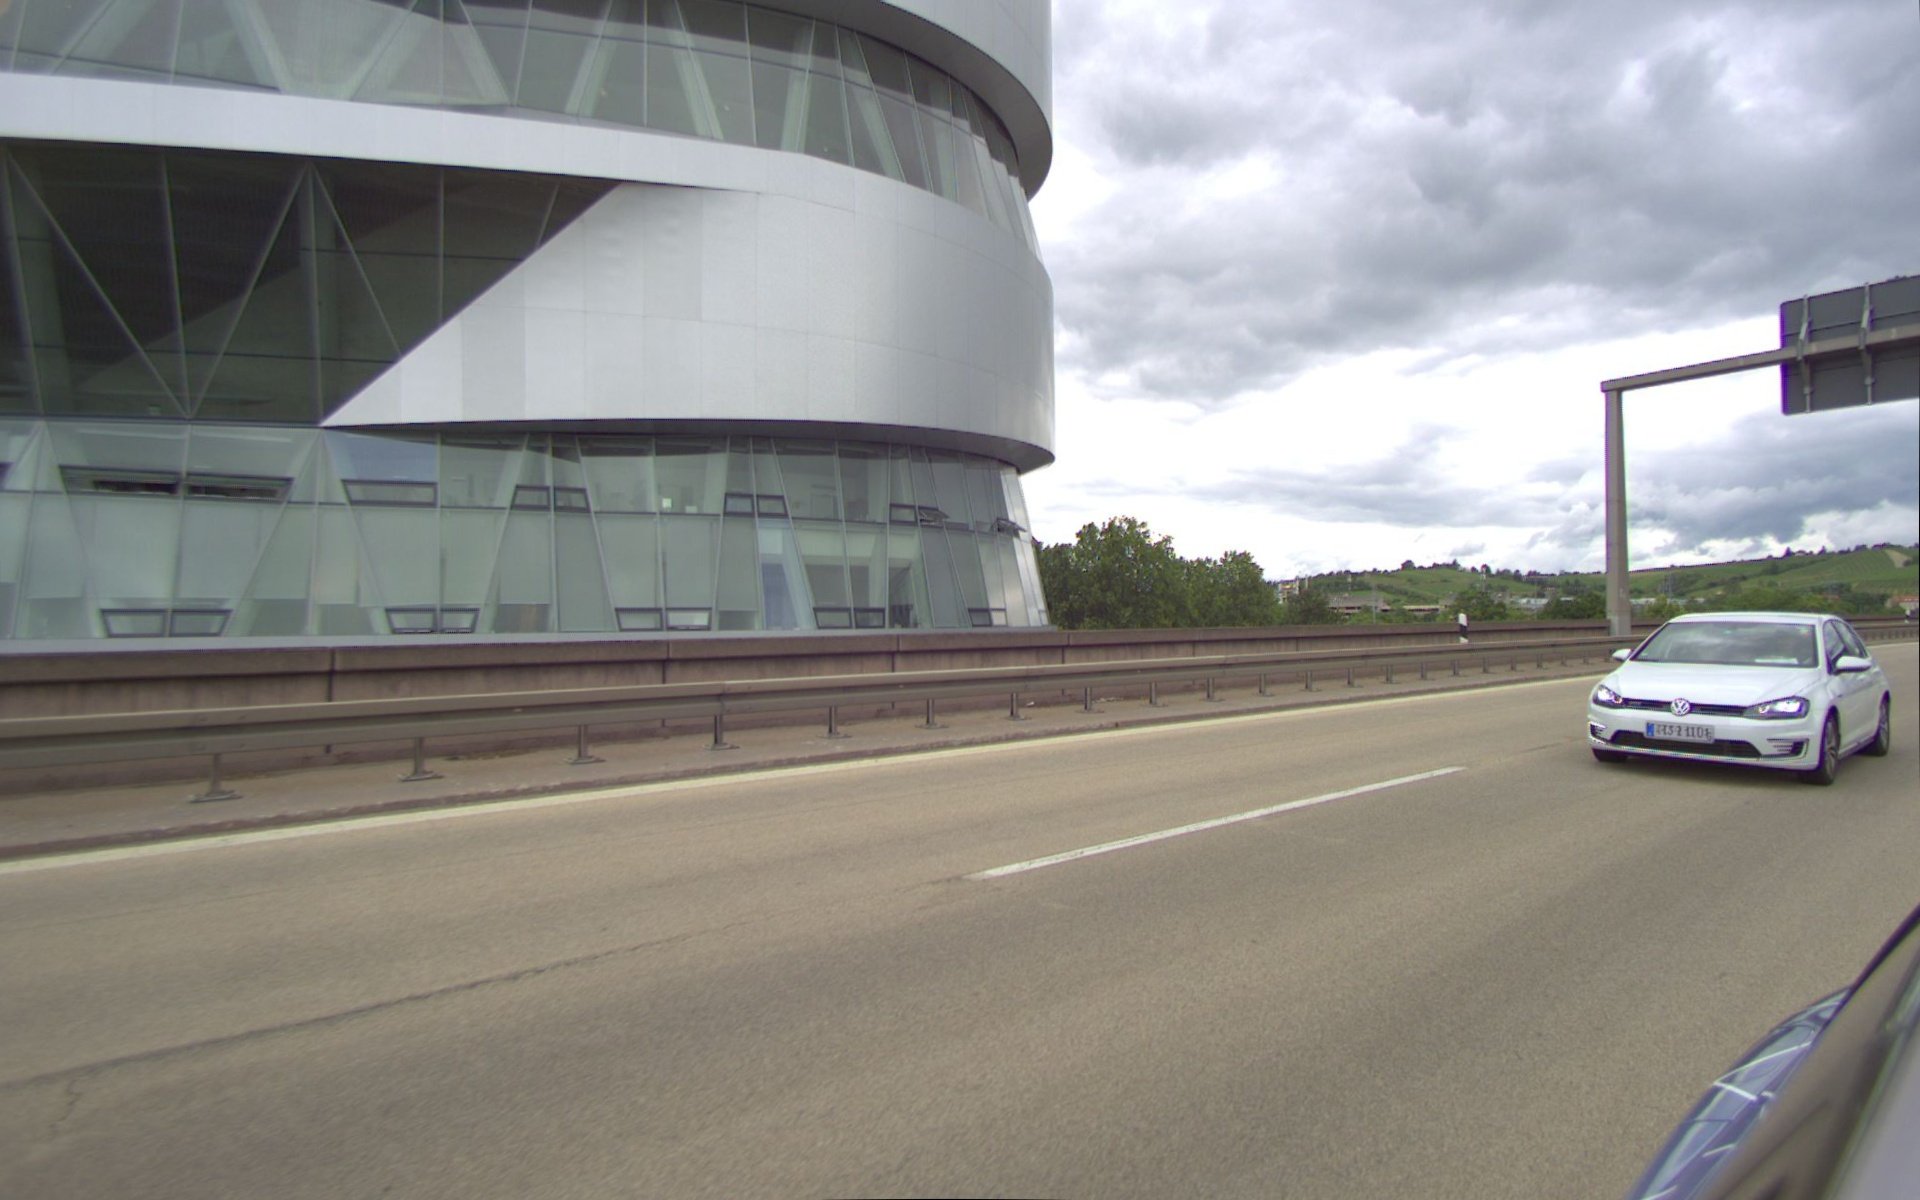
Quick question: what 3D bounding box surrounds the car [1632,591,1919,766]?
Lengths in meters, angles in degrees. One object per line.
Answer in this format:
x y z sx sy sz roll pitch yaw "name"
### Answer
9.114 0.684 11.071 3.990 1.527 1.929 -1 1 -40 "car"
